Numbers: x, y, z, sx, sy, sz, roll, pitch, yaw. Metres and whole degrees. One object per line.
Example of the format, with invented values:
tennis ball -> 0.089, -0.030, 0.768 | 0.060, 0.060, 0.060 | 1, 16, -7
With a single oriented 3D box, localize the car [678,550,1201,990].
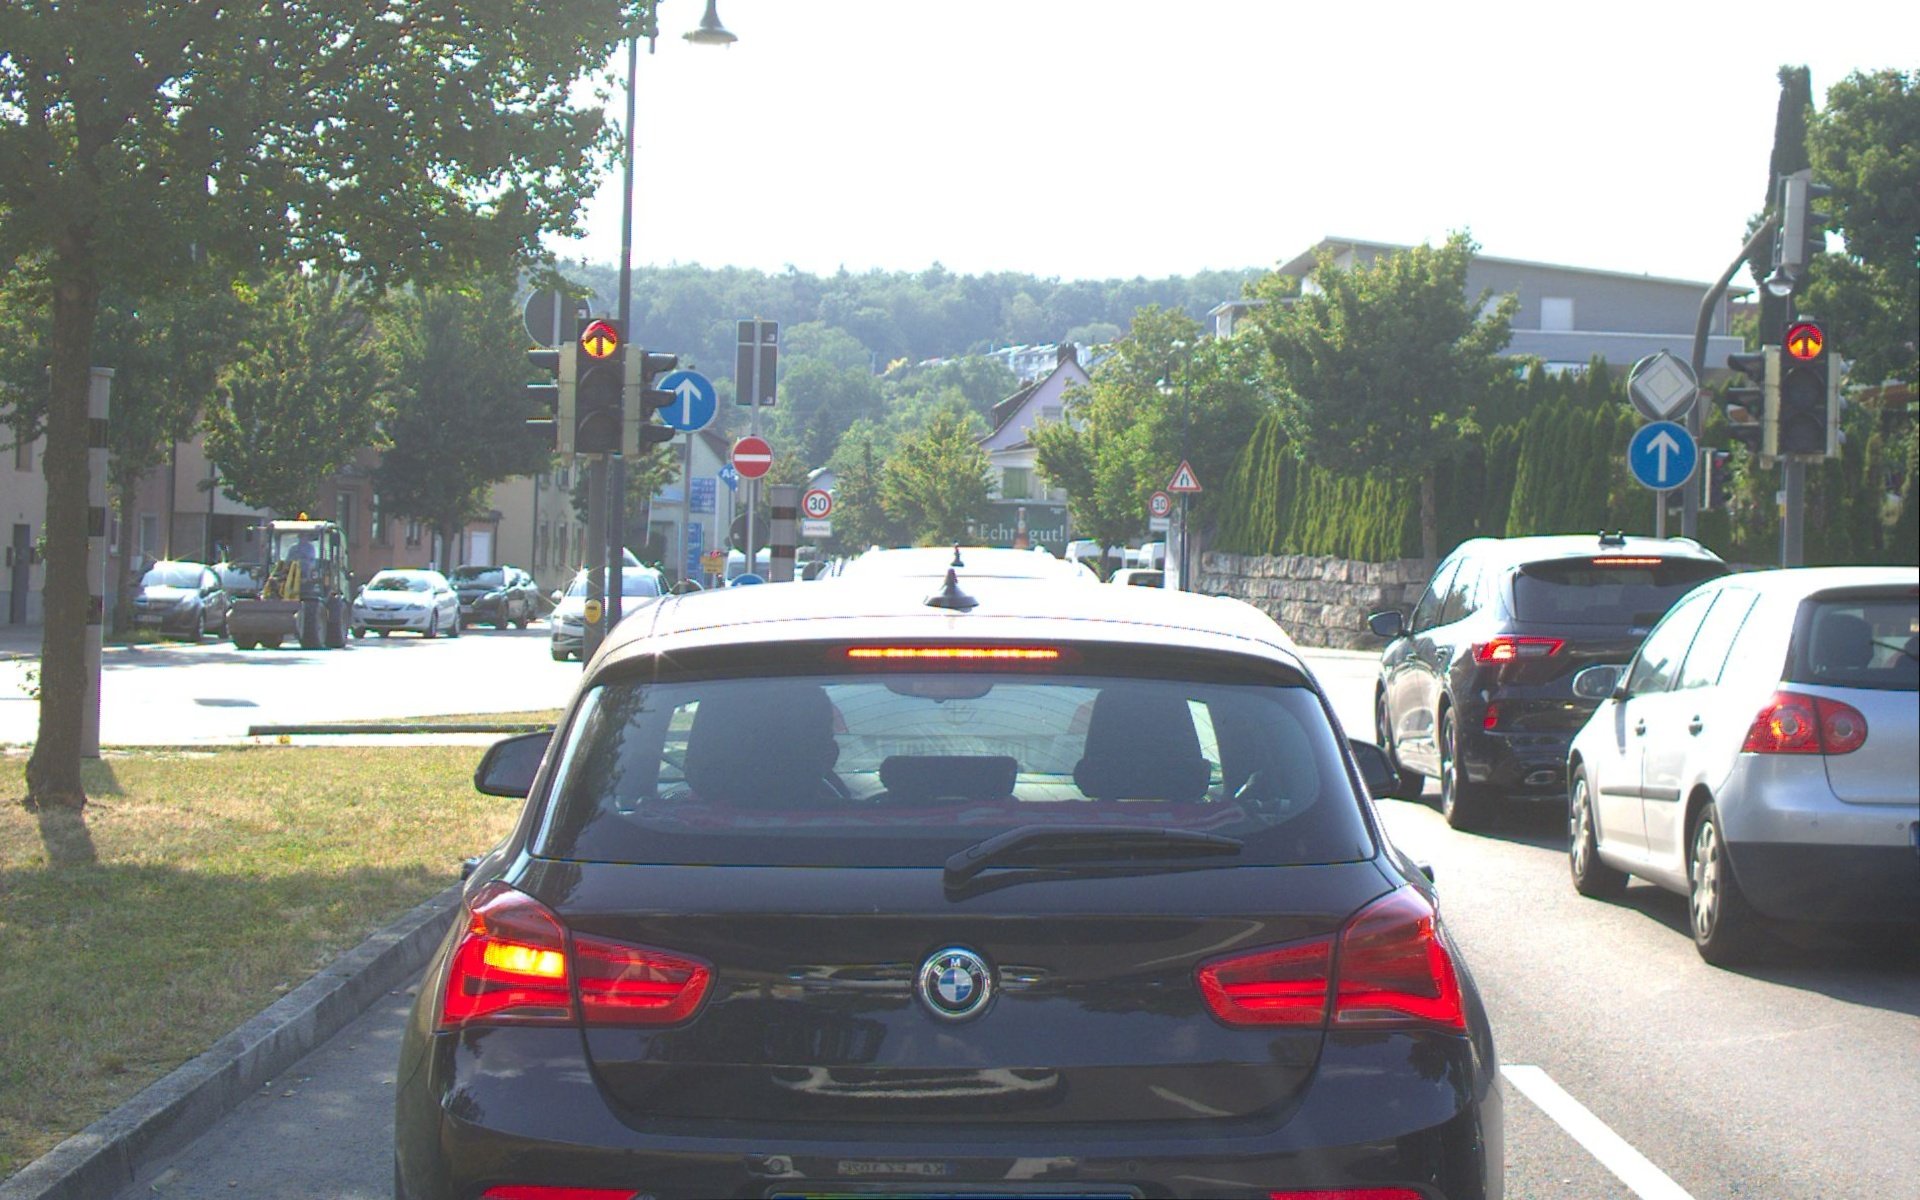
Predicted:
car -> -0.068, 0.557, 14.009 | 1.788, 1.488, 4.281 | -1, 1, 0

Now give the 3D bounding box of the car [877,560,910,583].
car -> -4.200, -1.812, 217.257 | 1.737, 1.296, 3.799 | 5, 1, 2

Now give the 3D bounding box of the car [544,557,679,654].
car -> -5.585, 0.058, 55.468 | 1.839, 1.477, 4.000 | 1, 1, -1

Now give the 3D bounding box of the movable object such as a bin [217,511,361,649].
movable object such as a bin -> -12.191, -0.380, 62.741 | 1.736, 2.433, 4.450 | 0, 1, 0

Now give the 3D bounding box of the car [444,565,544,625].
car -> -11.658, -0.147, 86.224 | 1.737, 1.296, 3.799 | 5, 1, 2

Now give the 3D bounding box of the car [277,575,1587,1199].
car -> -0.032, 0.678, 6.864 | 1.788, 1.393, 4.281 | -1, 1, 0

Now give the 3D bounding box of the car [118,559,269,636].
car -> -14.931, -0.066, 67.158 | 1.737, 1.296, 4.000 | 5, 1, 3

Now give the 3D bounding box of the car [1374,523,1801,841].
car -> 3.535, 0.398, 20.029 | 1.761, 1.650, 3.903 | -1, 1, 0

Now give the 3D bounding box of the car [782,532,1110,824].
car -> -0.074, 0.392, 21.049 | 1.788, 1.588, 4.281 | -1, 1, 0

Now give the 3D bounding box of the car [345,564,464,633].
car -> -12.121, -0.052, 75.193 | 1.737, 1.296, 3.799 | 5, 1, 2

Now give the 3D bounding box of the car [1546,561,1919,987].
car -> 3.561, 0.576, 13.747 | 1.761, 1.421, 3.903 | -1, 1, 0
